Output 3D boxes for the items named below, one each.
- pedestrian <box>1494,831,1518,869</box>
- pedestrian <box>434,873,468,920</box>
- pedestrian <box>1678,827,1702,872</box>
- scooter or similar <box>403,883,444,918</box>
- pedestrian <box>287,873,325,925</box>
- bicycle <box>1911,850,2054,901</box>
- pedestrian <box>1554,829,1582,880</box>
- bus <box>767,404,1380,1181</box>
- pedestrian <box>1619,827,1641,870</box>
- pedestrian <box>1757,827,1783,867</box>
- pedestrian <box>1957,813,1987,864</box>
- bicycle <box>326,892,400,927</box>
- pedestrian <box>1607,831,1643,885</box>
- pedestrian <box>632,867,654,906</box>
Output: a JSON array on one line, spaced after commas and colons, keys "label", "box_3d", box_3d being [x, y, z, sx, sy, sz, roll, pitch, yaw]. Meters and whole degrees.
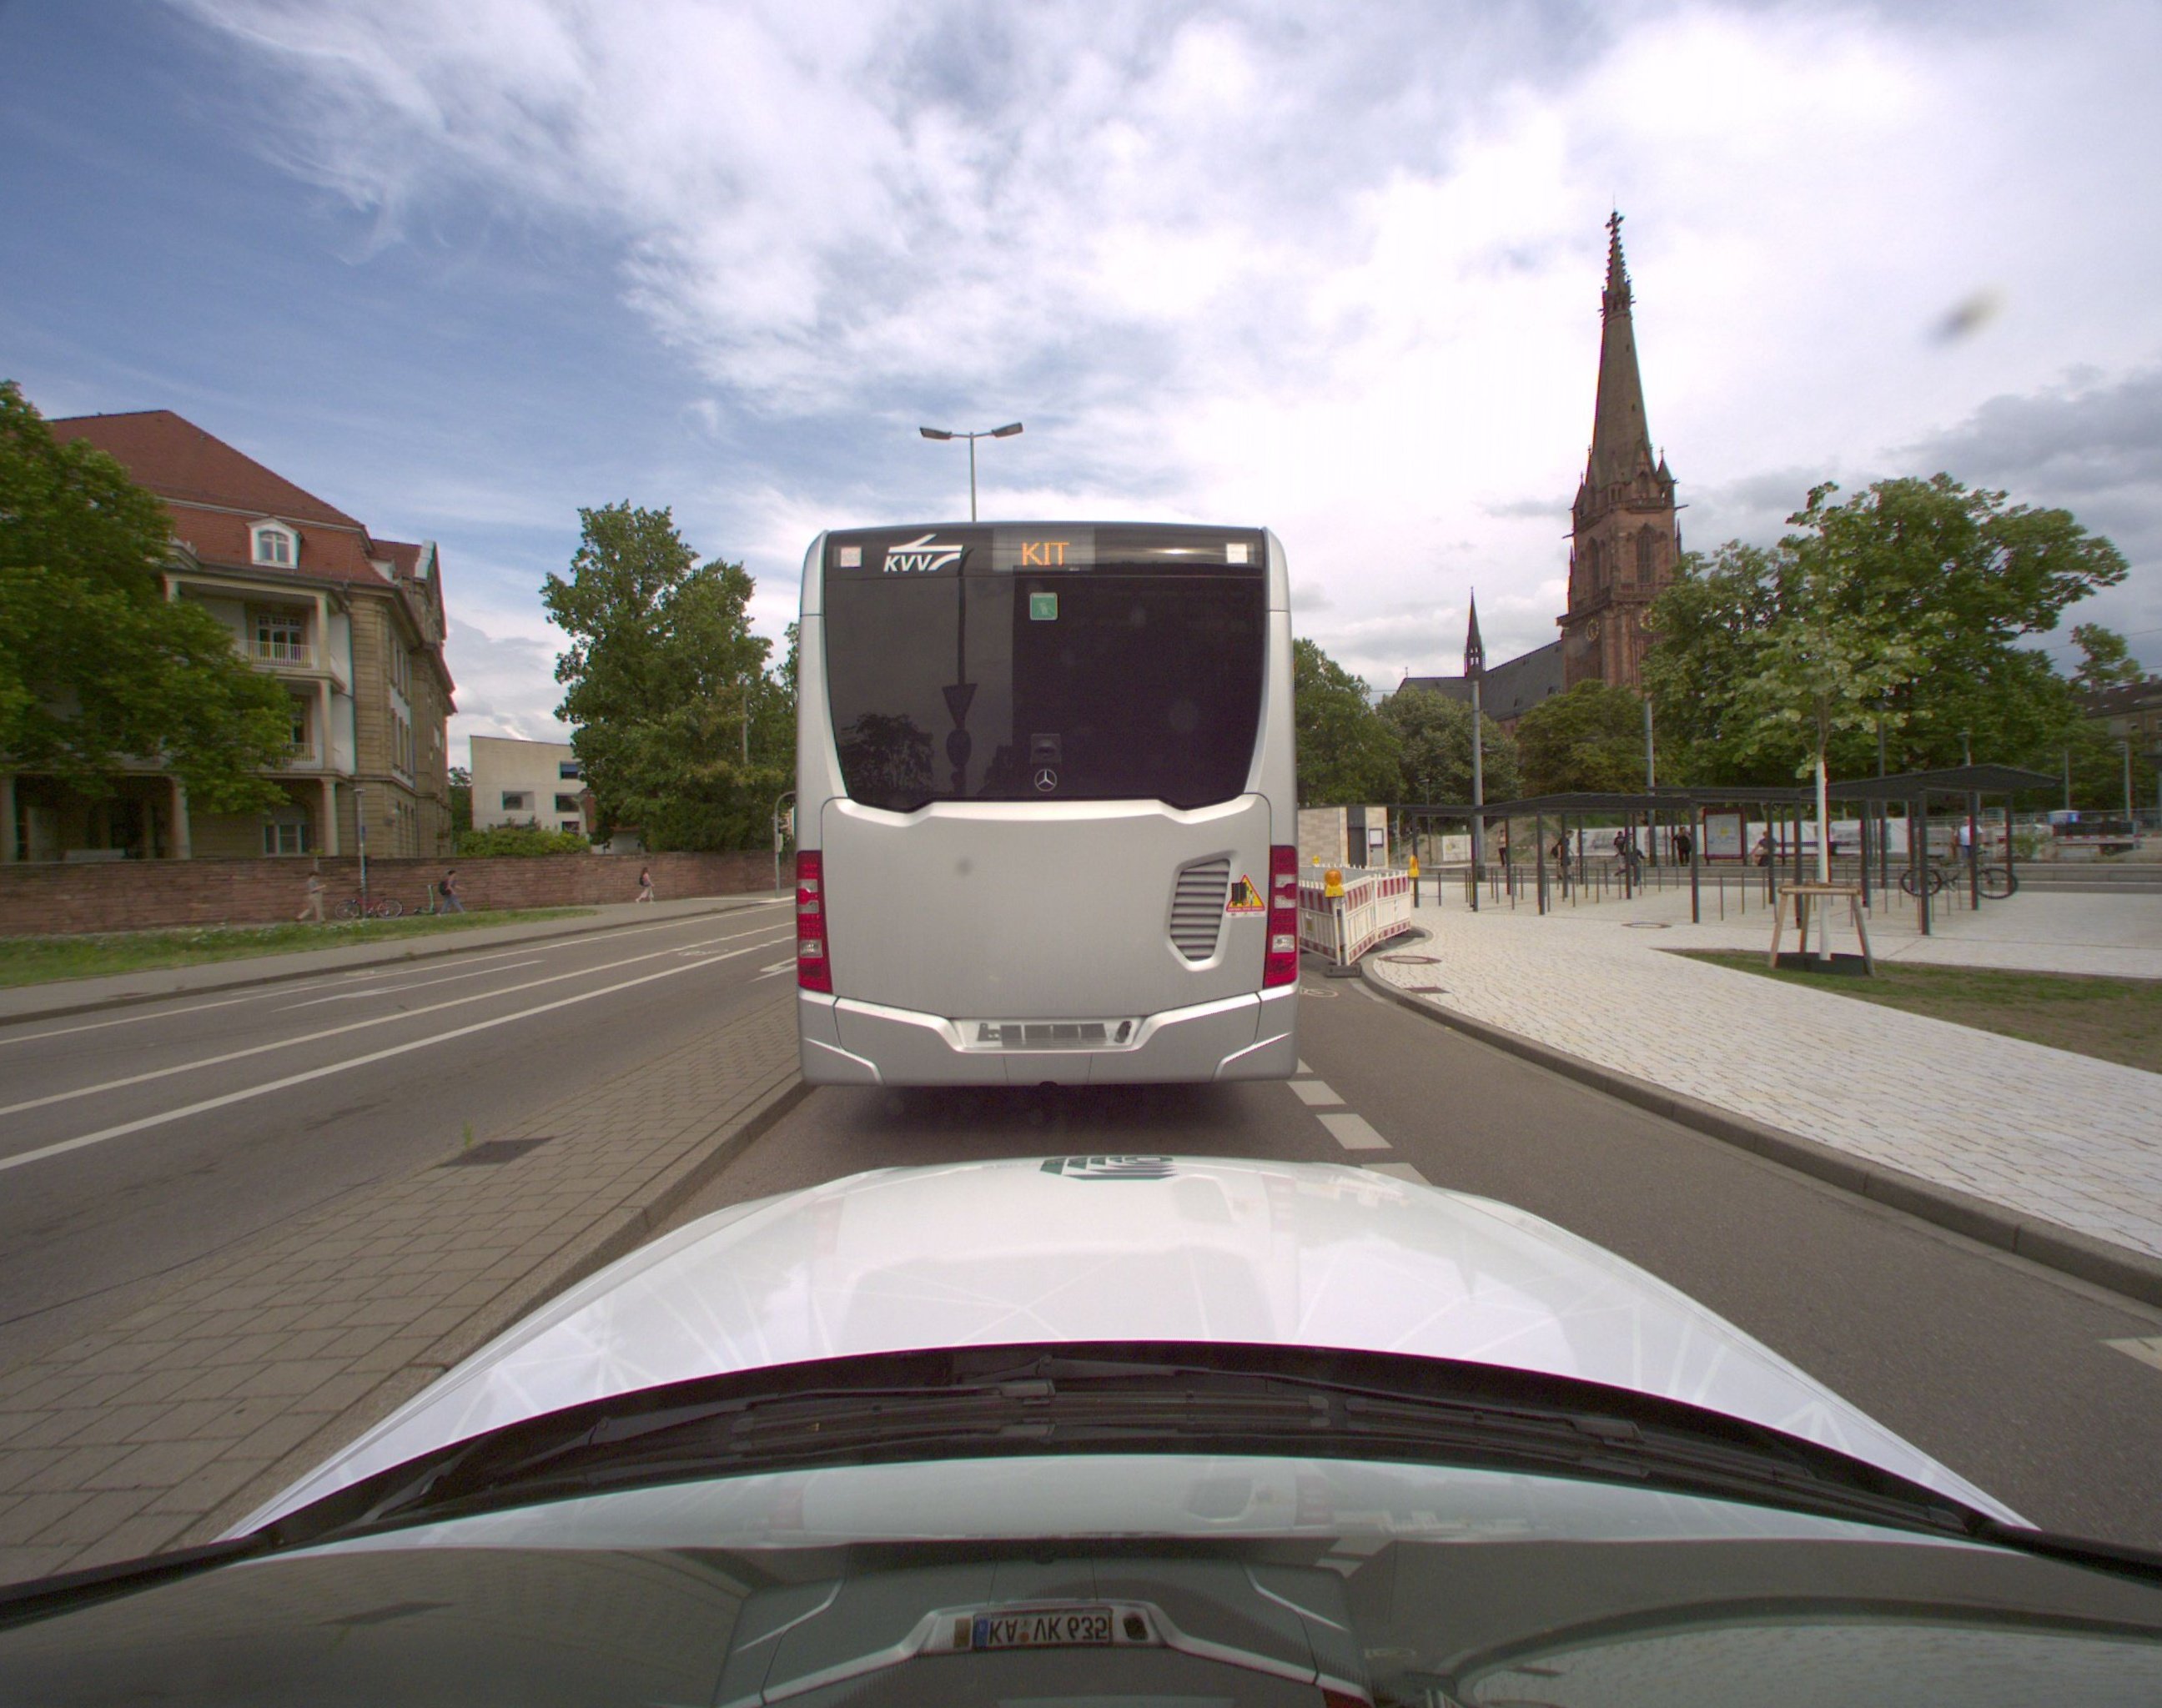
[{"label": "pedestrian", "box_3d": [20.393, -0.199, 39.095, 0.816, 1.800, 0.755, -1, 2, 11]}, {"label": "pedestrian", "box_3d": [-23.074, 1.536, 29.834, 0.570, 1.654, 0.787, 0, 3, 33]}, {"label": "pedestrian", "box_3d": [24.525, -0.194, 32.810, 0.526, 1.800, 0.670, -4, 3, -42]}, {"label": "scooter or similar", "box_3d": [-24.500, 1.722, 30.365, 0.519, 1.139, 1.513, -2, 3, -13]}, {"label": "pedestrian", "box_3d": [-26.223, 1.503, 27.573, 0.570, 1.654, 0.787, 0, 3, 38]}, {"label": "bicycle", "box_3d": [18.735, 0.417, 16.973, 0.587, 0.955, 1.944, -3, 3, -38]}, {"label": "pedestrian", "box_3d": [16.187, -0.004, 27.074, 0.534, 1.654, 0.623, -3, 3, -36]}, {"label": "bus", "box_3d": [0.442, -0.223, 10.763, 2.692, 3.438, 14.199, -2, 0, 4]}, {"label": "pedestrian", "box_3d": [23.271, -0.226, 34.538, 0.526, 1.800, 0.670, -4, 3, -42]}, {"label": "pedestrian", "box_3d": [26.081, -0.276, 30.819, 0.694, 1.485, 0.670, -4, 3, -42]}, {"label": "pedestrian", "box_3d": [29.763, -0.522, 27.203, 0.714, 1.677, 0.670, -4, 3, -42]}, {"label": "bicycle", "box_3d": [-25.704, 1.963, 29.182, 1.937, 1.005, 0.770, -4, 3, -42]}, {"label": "pedestrian", "box_3d": [16.614, 0.096, 24.878, 0.541, 1.603, 0.789, -3, 3, -36]}, {"label": "pedestrian", "box_3d": [-19.549, 1.442, 36.345, 0.525, 1.654, 0.634, 0, 3, 26]}]
